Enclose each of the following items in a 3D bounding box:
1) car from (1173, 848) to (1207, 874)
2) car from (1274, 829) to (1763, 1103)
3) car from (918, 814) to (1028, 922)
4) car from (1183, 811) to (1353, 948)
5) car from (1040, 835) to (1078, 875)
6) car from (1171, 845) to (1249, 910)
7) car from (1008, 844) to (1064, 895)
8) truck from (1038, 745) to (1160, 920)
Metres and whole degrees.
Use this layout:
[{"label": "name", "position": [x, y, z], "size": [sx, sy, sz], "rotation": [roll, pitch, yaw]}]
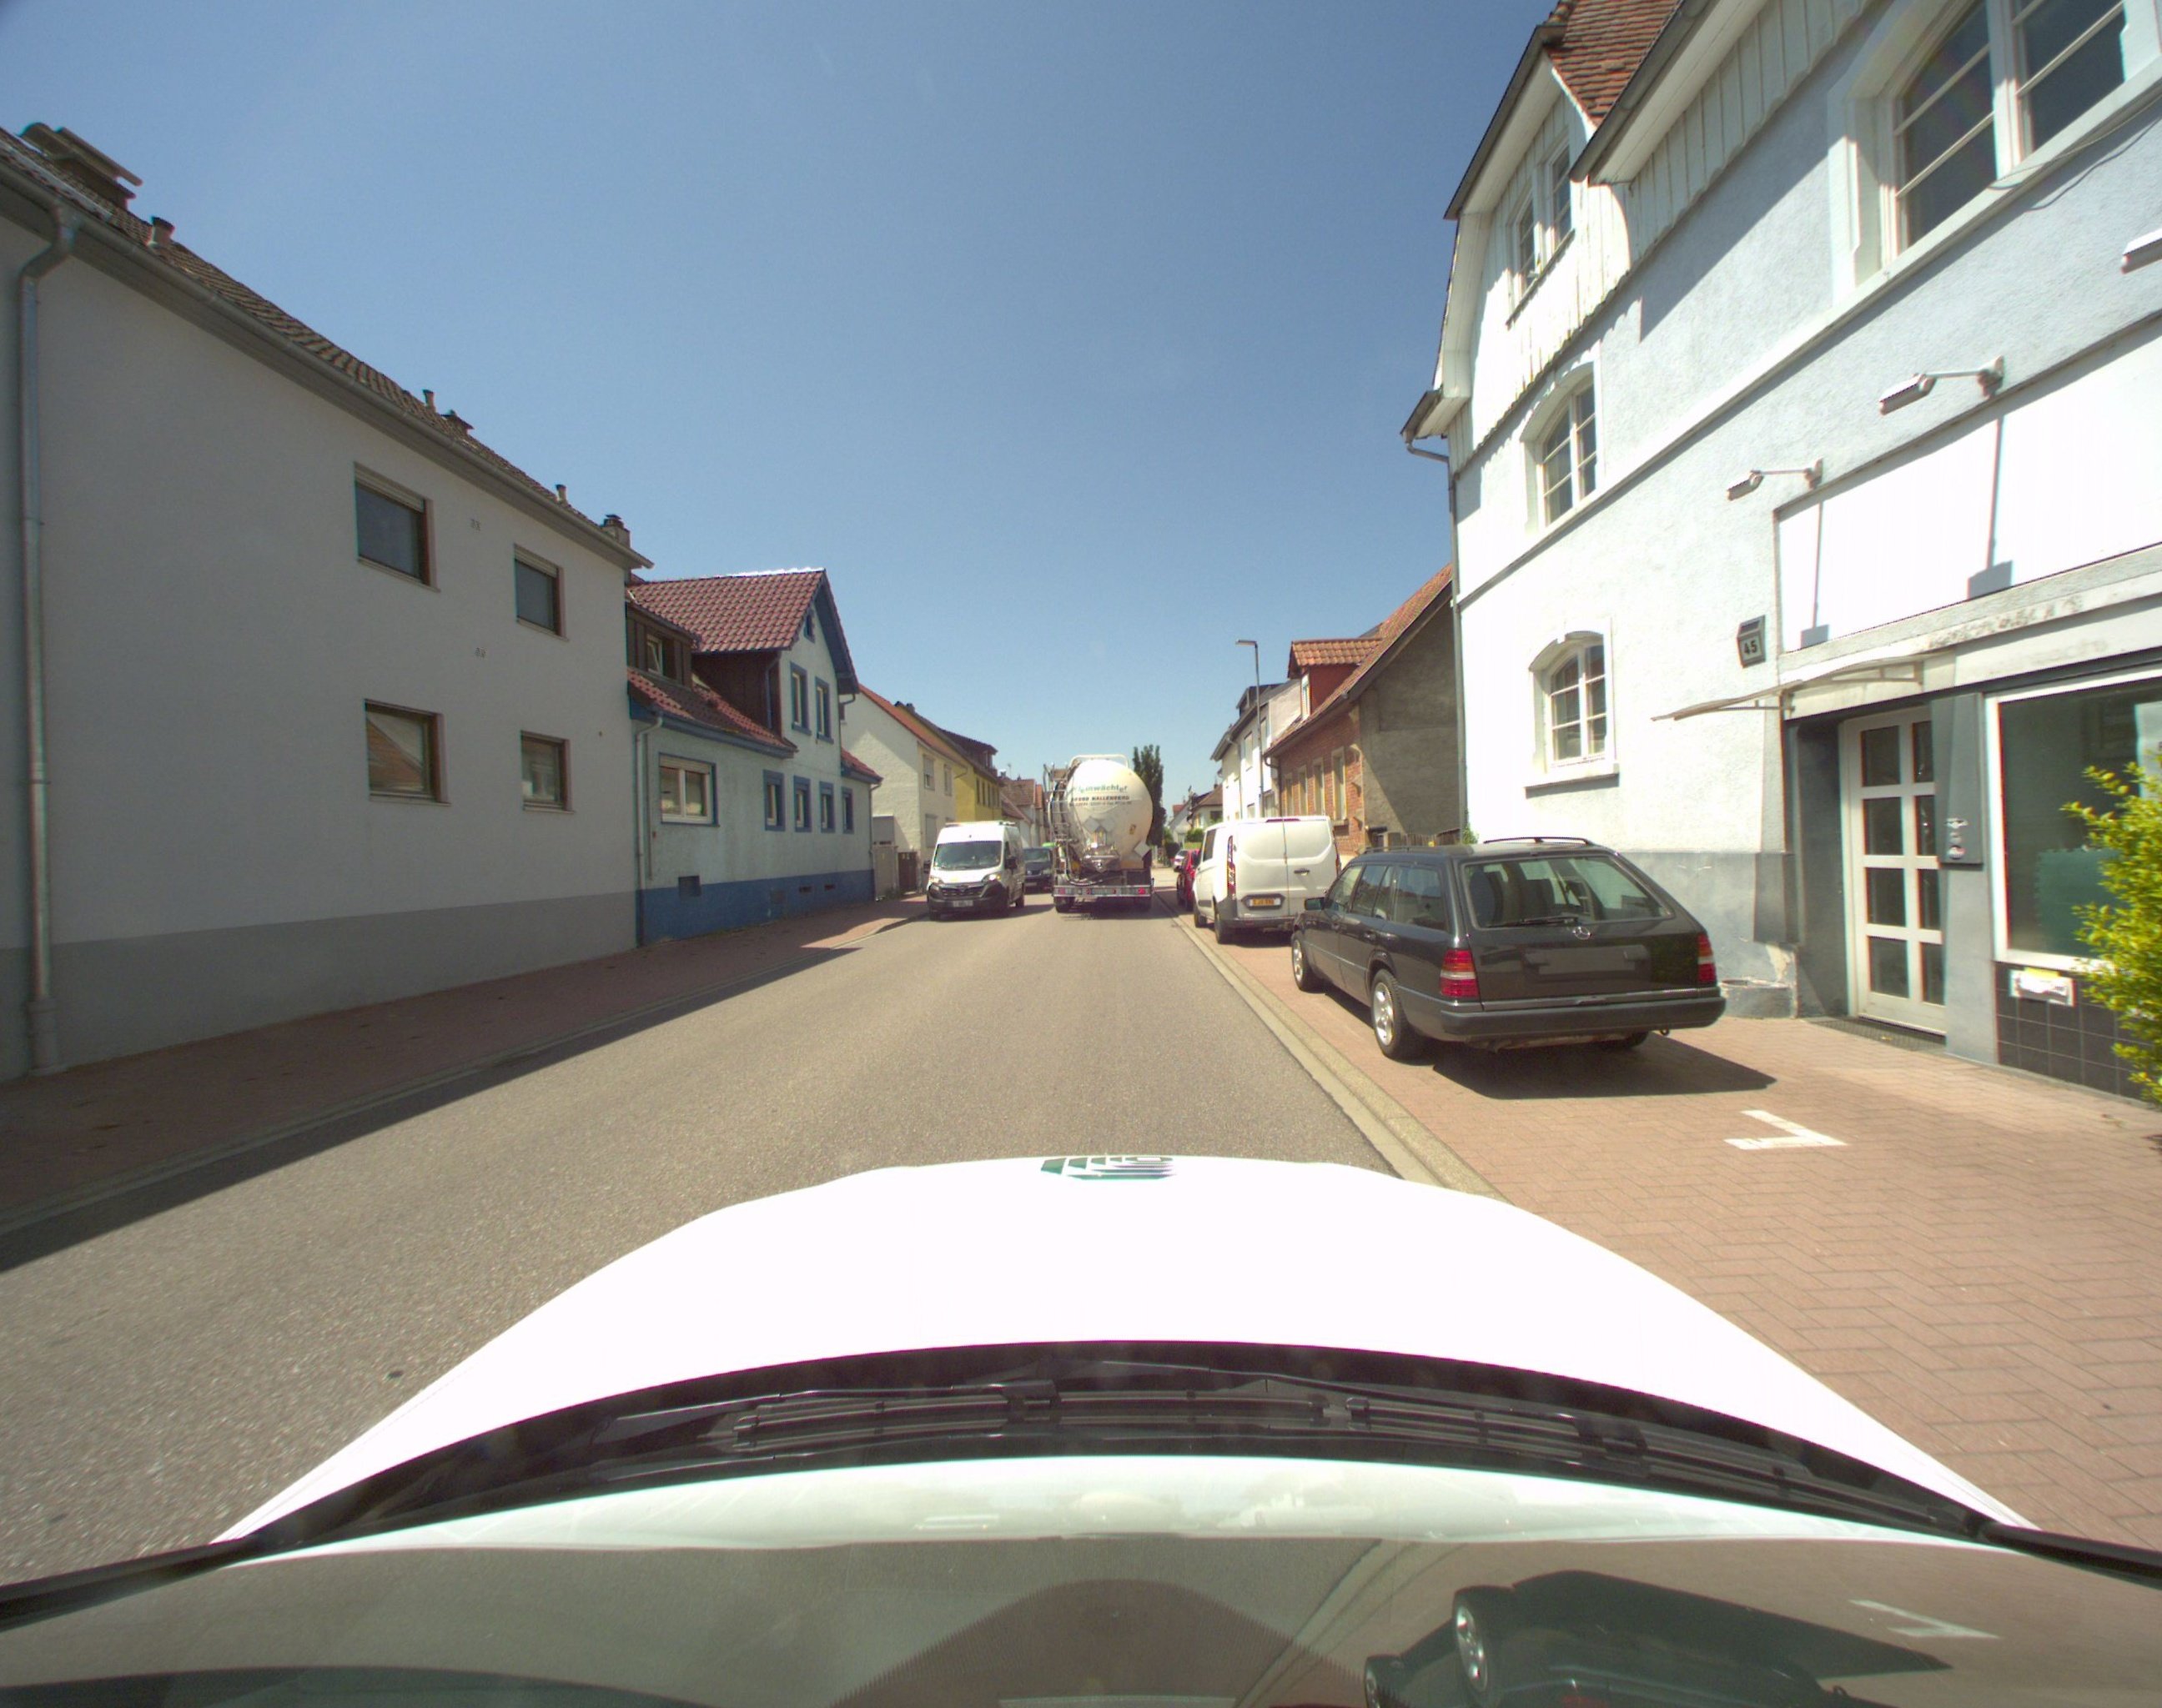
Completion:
[{"label": "car", "position": [7.018, 0.387, 52.229], "size": [1.803, 1.462, 4.900], "rotation": [2, 1, 11]}, {"label": "car", "position": [3.007, 0.623, 6.888], "size": [1.763, 1.466, 4.580], "rotation": [-3, 0, 2]}, {"label": "car", "position": [-2.831, 0.338, 22.802], "size": [2.117, 2.542, 5.463], "rotation": [-3, 0, 1]}, {"label": "car", "position": [3.105, 0.374, 14.617], "size": [1.939, 1.970, 4.785], "rotation": [-3, 0, 1]}, {"label": "car", "position": [-1.370, 0.066, 53.471], "size": [2.043, 2.353, 6.084], "rotation": [-3, 0, 2]}, {"label": "car", "position": [3.366, 0.564, 21.829], "size": [1.604, 1.528, 3.679], "rotation": [-3, 0, 2]}, {"label": "car", "position": [-1.832, 0.607, 34.972], "size": [1.874, 1.943, 5.120], "rotation": [-3, 0, 2]}, {"label": "truck", "position": [0.517, -0.482, 22.710], "size": [2.722, 3.960, 8.144], "rotation": [-1, 0, 1]}]
